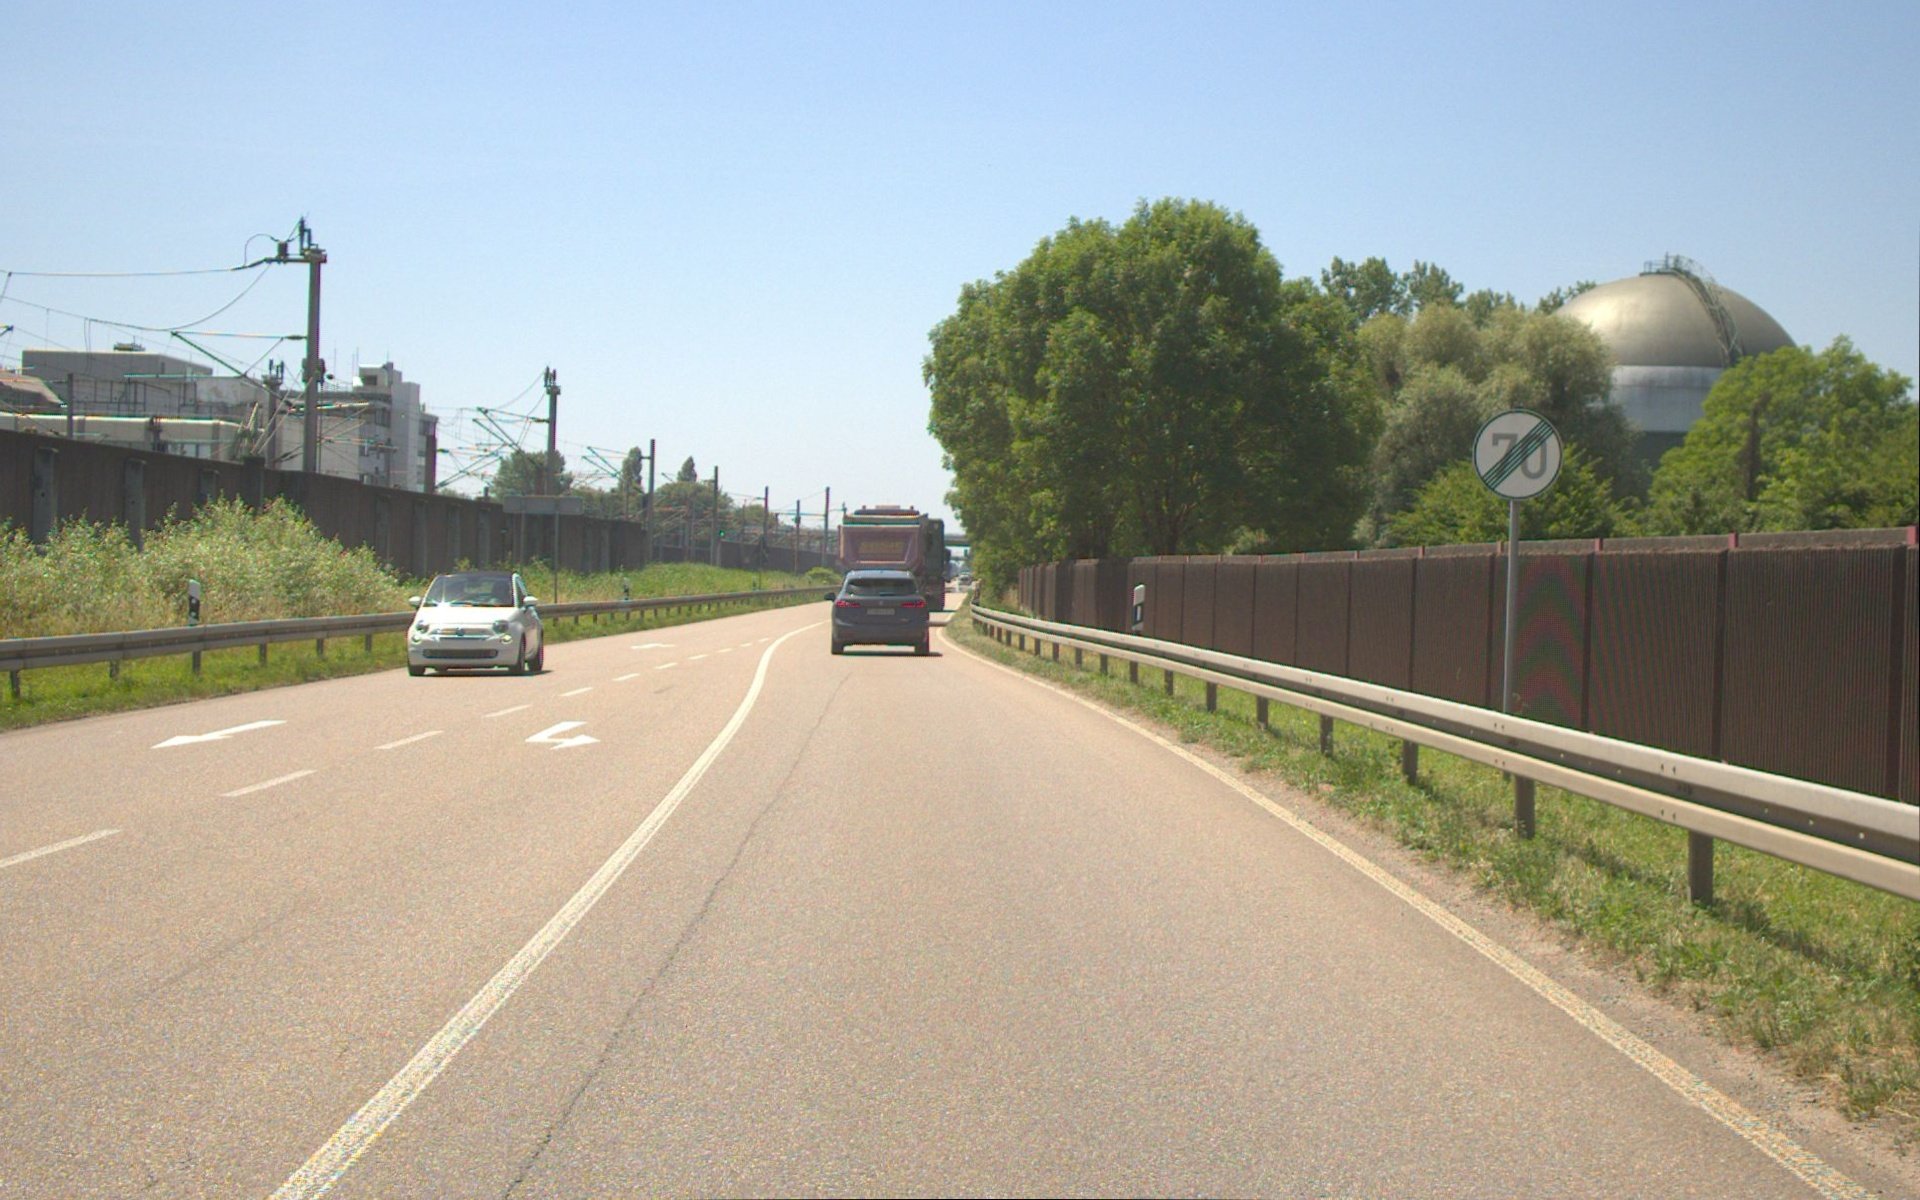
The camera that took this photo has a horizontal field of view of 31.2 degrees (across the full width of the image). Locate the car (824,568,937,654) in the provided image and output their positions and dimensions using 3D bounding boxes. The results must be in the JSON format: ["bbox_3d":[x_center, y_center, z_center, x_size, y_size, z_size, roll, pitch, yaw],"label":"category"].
[{"bbox_3d":[-1.447,0.232,64.119,1.993,1.498,4.000,2,-1,0],"label":"car"}]

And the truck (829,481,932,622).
[{"bbox_3d":[-2.438,-1.403,108.051,2.996,4.166,11.808,1,0,-1],"label":"truck"}]

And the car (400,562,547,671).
[{"bbox_3d":[-6.998,0.208,49.777,1.672,1.497,3.722,1,0,-1],"label":"car"}]
